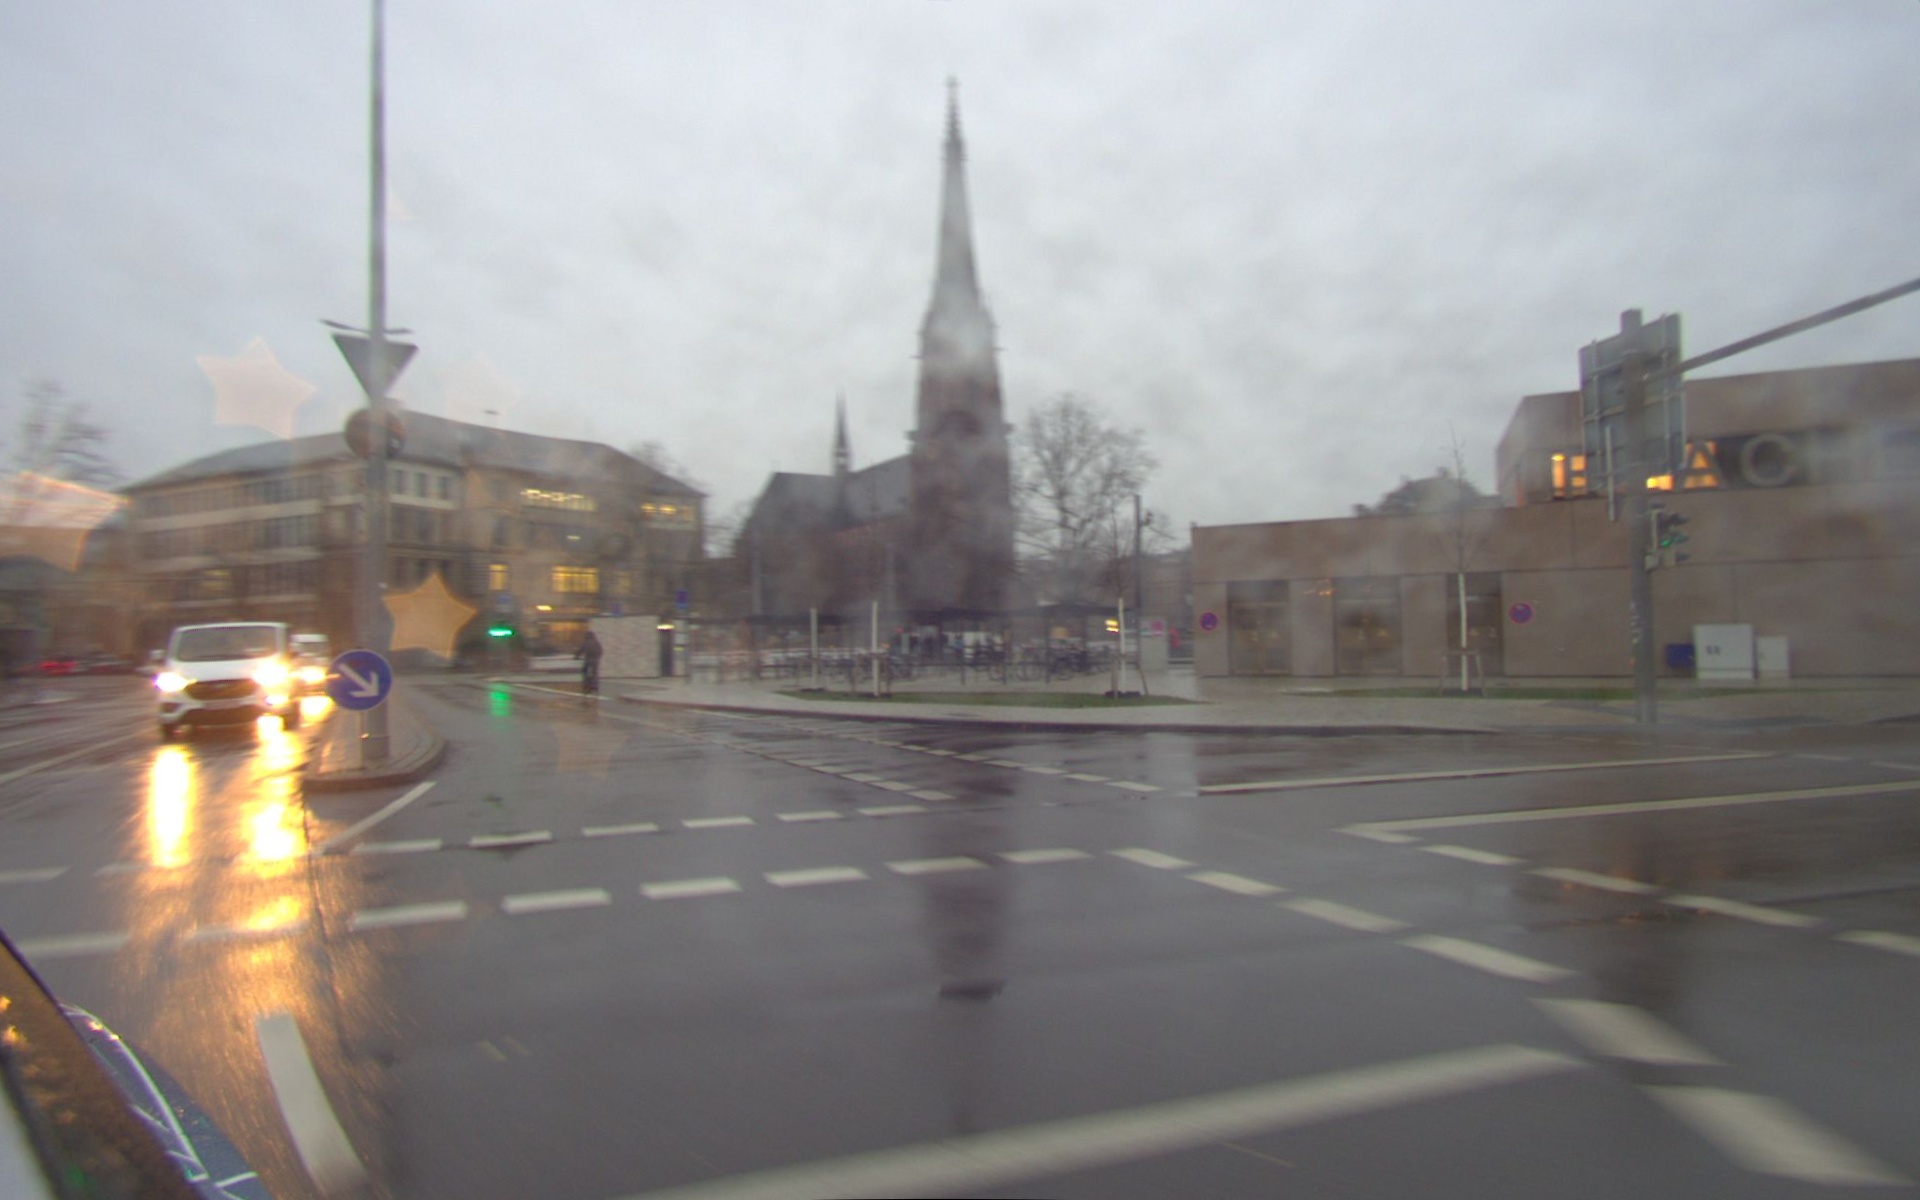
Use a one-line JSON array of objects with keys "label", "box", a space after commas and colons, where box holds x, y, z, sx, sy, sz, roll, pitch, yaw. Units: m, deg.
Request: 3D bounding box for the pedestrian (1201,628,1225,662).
[{"label": "pedestrian", "box": [14.621, 2.606, 58.480, 0.931, 1.844, 0.811, 1, 4, -31]}]

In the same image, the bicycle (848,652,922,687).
[{"label": "bicycle", "box": [-2.745, 2.547, 37.004, 2.738, 1.113, 0.641, -4, -2, 28]}]

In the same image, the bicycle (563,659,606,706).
[{"label": "bicycle", "box": [-9.861, 2.141, 26.529, 0.614, 1.185, 1.878, 2, -4, -34]}]

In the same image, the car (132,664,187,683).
[{"label": "car", "box": [-67.424, 6.189, 85.222, 3.971, 1.542, 1.875, -2, -3, 21]}]

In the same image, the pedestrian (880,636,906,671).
[{"label": "pedestrian", "box": [-3.791, 3.042, 57.425, 1.033, 1.863, 0.851, -5, -1, -31]}]

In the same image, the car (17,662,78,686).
[{"label": "car", "box": [-83.079, 6.731, 92.116, 4.533, 2.026, 2.129, -2, -3, 18]}]

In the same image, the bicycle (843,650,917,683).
[{"label": "bicycle", "box": [-3.078, 2.564, 38.858, 2.728, 1.113, 0.643, -4, -2, 19]}]

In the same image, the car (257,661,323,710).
[{"label": "car", "box": [-24.291, 3.062, 36.806, 1.726, 1.515, 4.330, -3, -2, -31]}]

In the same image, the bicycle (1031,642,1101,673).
[{"label": "bicycle", "box": [4.280, 2.325, 40.945, 2.737, 1.113, 0.641, -4, -2, 28]}]

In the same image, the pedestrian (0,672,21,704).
[{"label": "pedestrian", "box": [-41.026, 3.766, 43.356, 0.811, 1.327, 0.973, -3, -4, 29]}]

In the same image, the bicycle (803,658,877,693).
[{"label": "bicycle", "box": [-4.352, 2.730, 36.493, 2.738, 1.113, 0.641, -4, -2, 28]}]

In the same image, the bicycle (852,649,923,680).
[{"label": "bicycle", "box": [-2.840, 2.530, 39.598, 2.729, 1.113, 0.643, -3, -1, 19]}]

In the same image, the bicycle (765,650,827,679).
[{"label": "bicycle", "box": [-7.254, 2.860, 44.697, 2.735, 1.113, 0.641, -4, -2, 25]}]

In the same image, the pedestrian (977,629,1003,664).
[{"label": "pedestrian", "box": [1.624, 2.538, 55.075, 1.018, 1.864, 0.851, -3, -2, -31]}]

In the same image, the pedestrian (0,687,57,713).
[{"label": "pedestrian", "box": [-40.916, 4.330, 43.437, 0.944, 0.937, 3.070, -4, -2, 28]}]

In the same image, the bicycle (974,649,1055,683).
[{"label": "bicycle", "box": [1.896, 2.300, 35.295, 2.731, 1.113, 0.604, -3, -1, 21]}]

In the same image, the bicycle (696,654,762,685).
[{"label": "bicycle", "box": [-9.169, 2.768, 40.127, 2.737, 1.113, 0.641, -4, -2, 28]}]

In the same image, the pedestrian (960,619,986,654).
[{"label": "pedestrian", "box": [0.721, 2.020, 56.105, 1.018, 1.864, 0.850, -2, -2, -33]}]

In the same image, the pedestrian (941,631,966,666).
[{"label": "pedestrian", "box": [-0.360, 2.697, 56.442, 1.018, 1.864, 0.851, -3, -2, -31]}]

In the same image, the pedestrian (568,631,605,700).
[{"label": "pedestrian", "box": [-9.750, 1.707, 26.401, 0.705, 1.747, 0.985, 2, -4, -30]}]

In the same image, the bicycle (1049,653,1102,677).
[{"label": "bicycle", "box": [4.313, 2.417, 37.674, 1.853, 0.878, 0.602, -3, -4, 24]}]

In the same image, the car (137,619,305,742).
[{"label": "car", "box": [-13.953, 1.479, 19.413, 2.102, 1.935, 5.031, -2, -2, -31]}]

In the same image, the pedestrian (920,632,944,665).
[{"label": "pedestrian", "box": [-1.578, 2.754, 57.249, 1.018, 1.864, 0.851, 1, -4, -31]}]

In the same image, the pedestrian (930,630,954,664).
[{"label": "pedestrian", "box": [-1.011, 2.635, 56.507, 1.018, 1.864, 0.805, 1, -4, -31]}]

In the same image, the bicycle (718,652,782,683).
[{"label": "bicycle", "box": [-8.559, 2.754, 41.138, 2.737, 1.113, 0.641, -4, -2, 28]}]

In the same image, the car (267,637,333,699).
[{"label": "car", "box": [-30.083, 3.071, 46.219, 2.309, 2.537, 5.884, -2, -2, -33]}]

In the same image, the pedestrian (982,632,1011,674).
[{"label": "pedestrian", "box": [1.561, 2.281, 43.531, 0.802, 1.693, 0.851, -4, 1, -31]}]

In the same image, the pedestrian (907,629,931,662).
[{"label": "pedestrian", "box": [-2.350, 2.606, 57.850, 1.018, 1.864, 0.851, 1, -4, -31]}]

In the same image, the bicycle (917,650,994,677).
[{"label": "bicycle", "box": [-0.195, 2.688, 42.581, 3.174, 1.058, 0.789, -3, -3, 24]}]

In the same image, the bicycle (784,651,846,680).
[{"label": "bicycle", "box": [-6.147, 2.773, 42.817, 2.737, 1.113, 0.641, -4, -2, 28]}]
